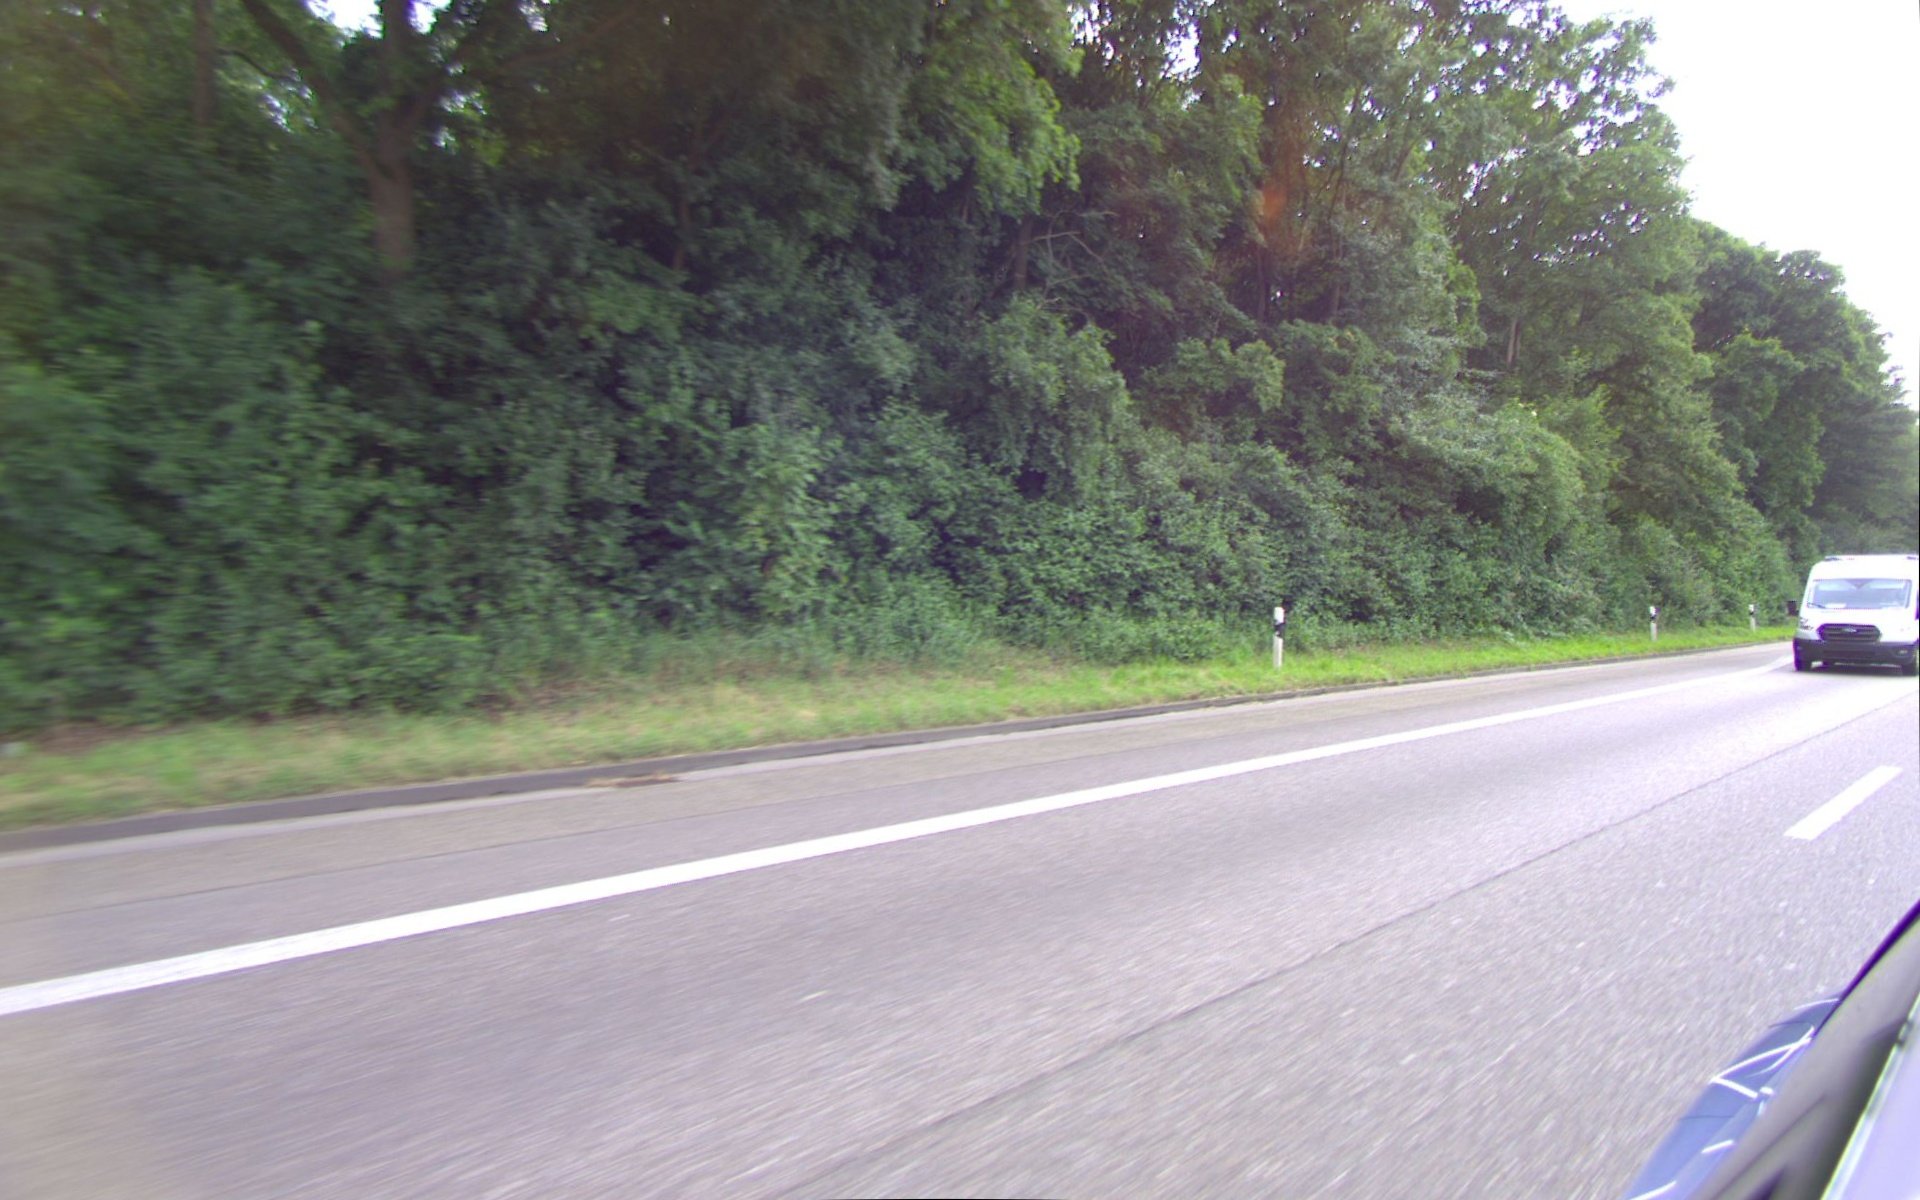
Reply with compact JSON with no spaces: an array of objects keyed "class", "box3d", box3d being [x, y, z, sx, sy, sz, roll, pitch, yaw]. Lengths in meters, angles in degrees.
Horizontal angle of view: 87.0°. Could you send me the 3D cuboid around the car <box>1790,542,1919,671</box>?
[{"class":"car","box3d":[20.187,0.112,22.286,5.186,2.539,2.102,0,0,-41]}]
